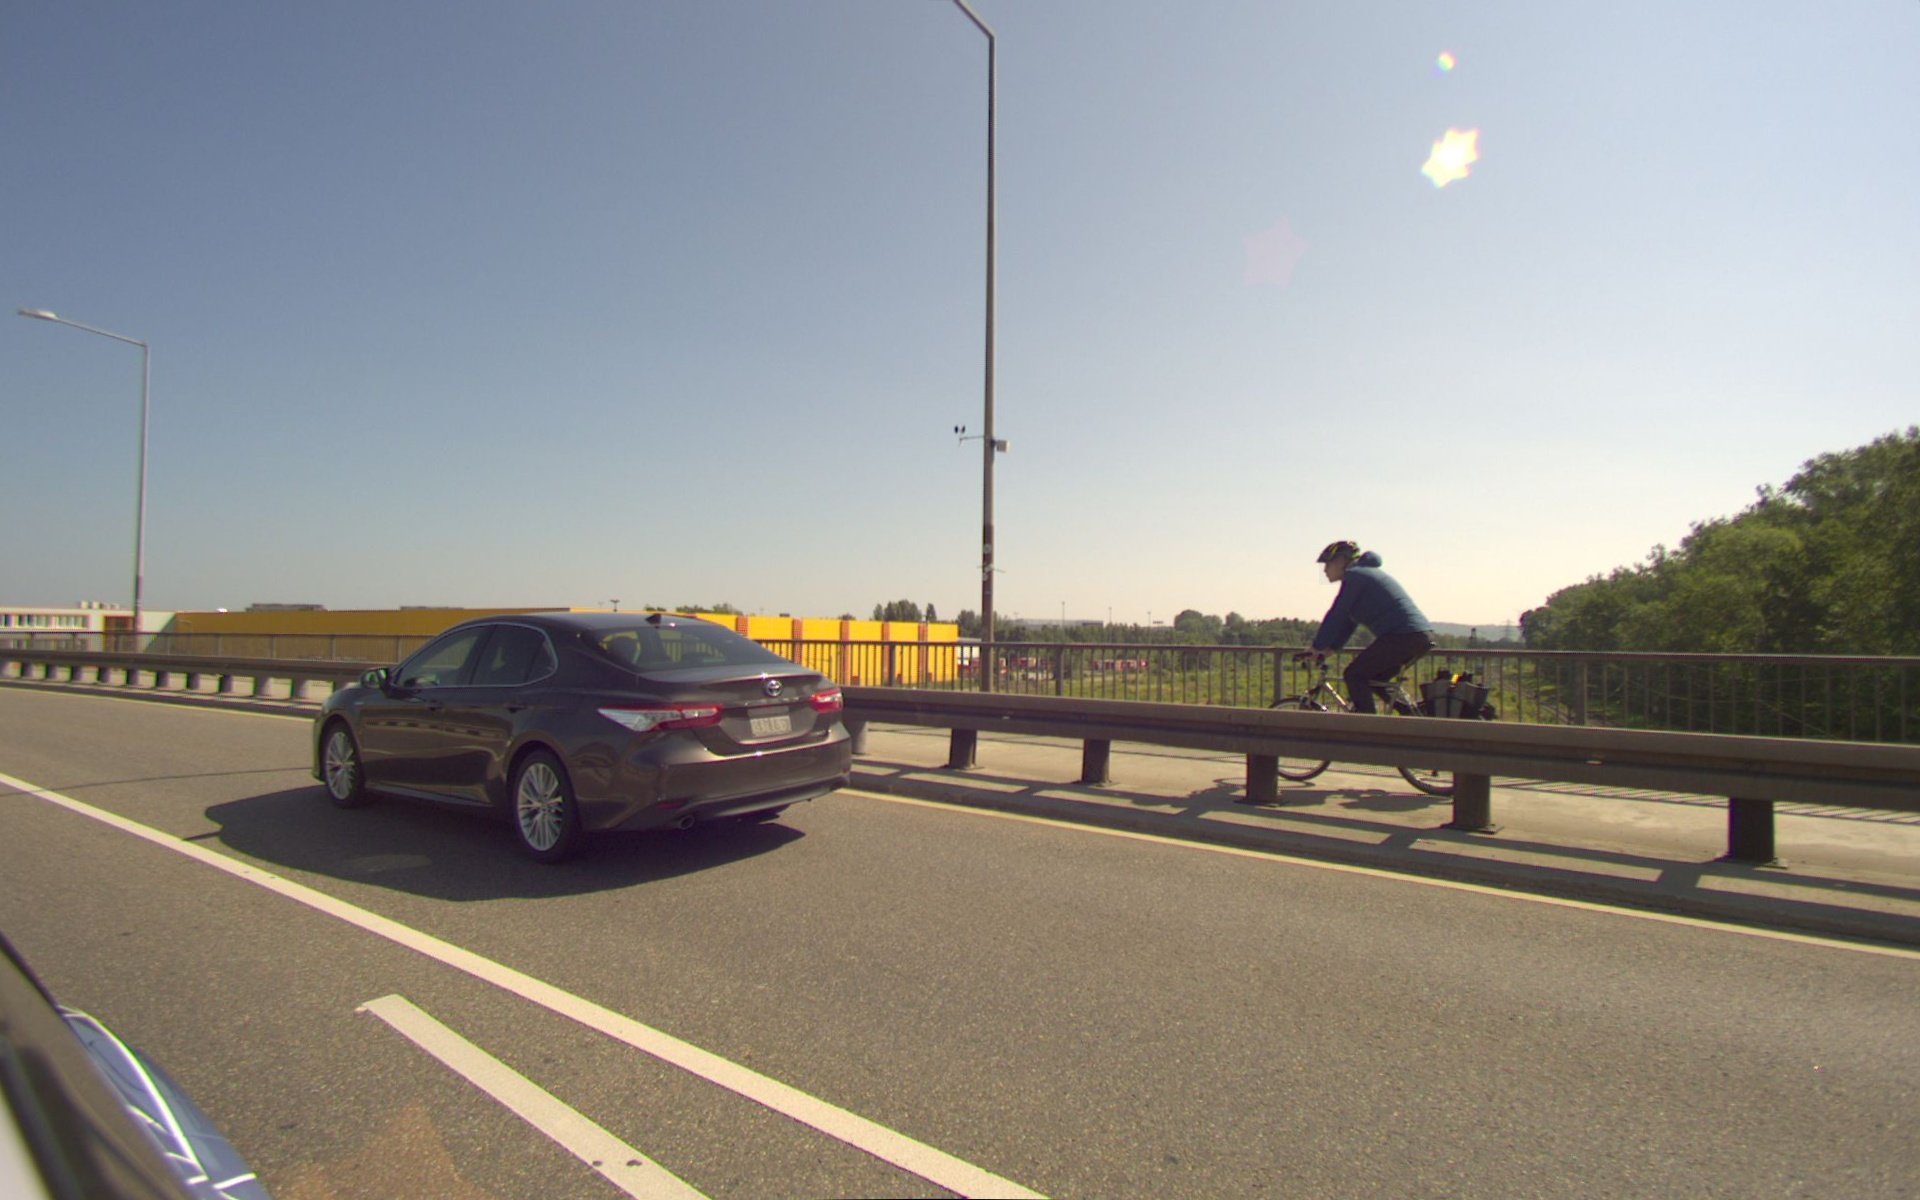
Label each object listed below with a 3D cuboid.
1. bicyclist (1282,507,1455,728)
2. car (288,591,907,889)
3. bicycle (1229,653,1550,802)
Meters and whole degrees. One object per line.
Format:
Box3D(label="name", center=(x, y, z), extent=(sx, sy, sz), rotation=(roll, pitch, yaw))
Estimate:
Box3D(label="bicyclist", center=(3.018, 0.130, 7.494), extent=(1.015, 1.508, 0.654), rotation=(-2, -1, 39))
Box3D(label="car", center=(-2.792, 0.749, 7.131), extent=(4.857, 1.441, 1.801), rotation=(-2, -2, 38))
Box3D(label="bicycle", center=(3.096, 0.857, 7.397), extent=(1.965, 0.898, 0.919), rotation=(-2, -2, 39))
